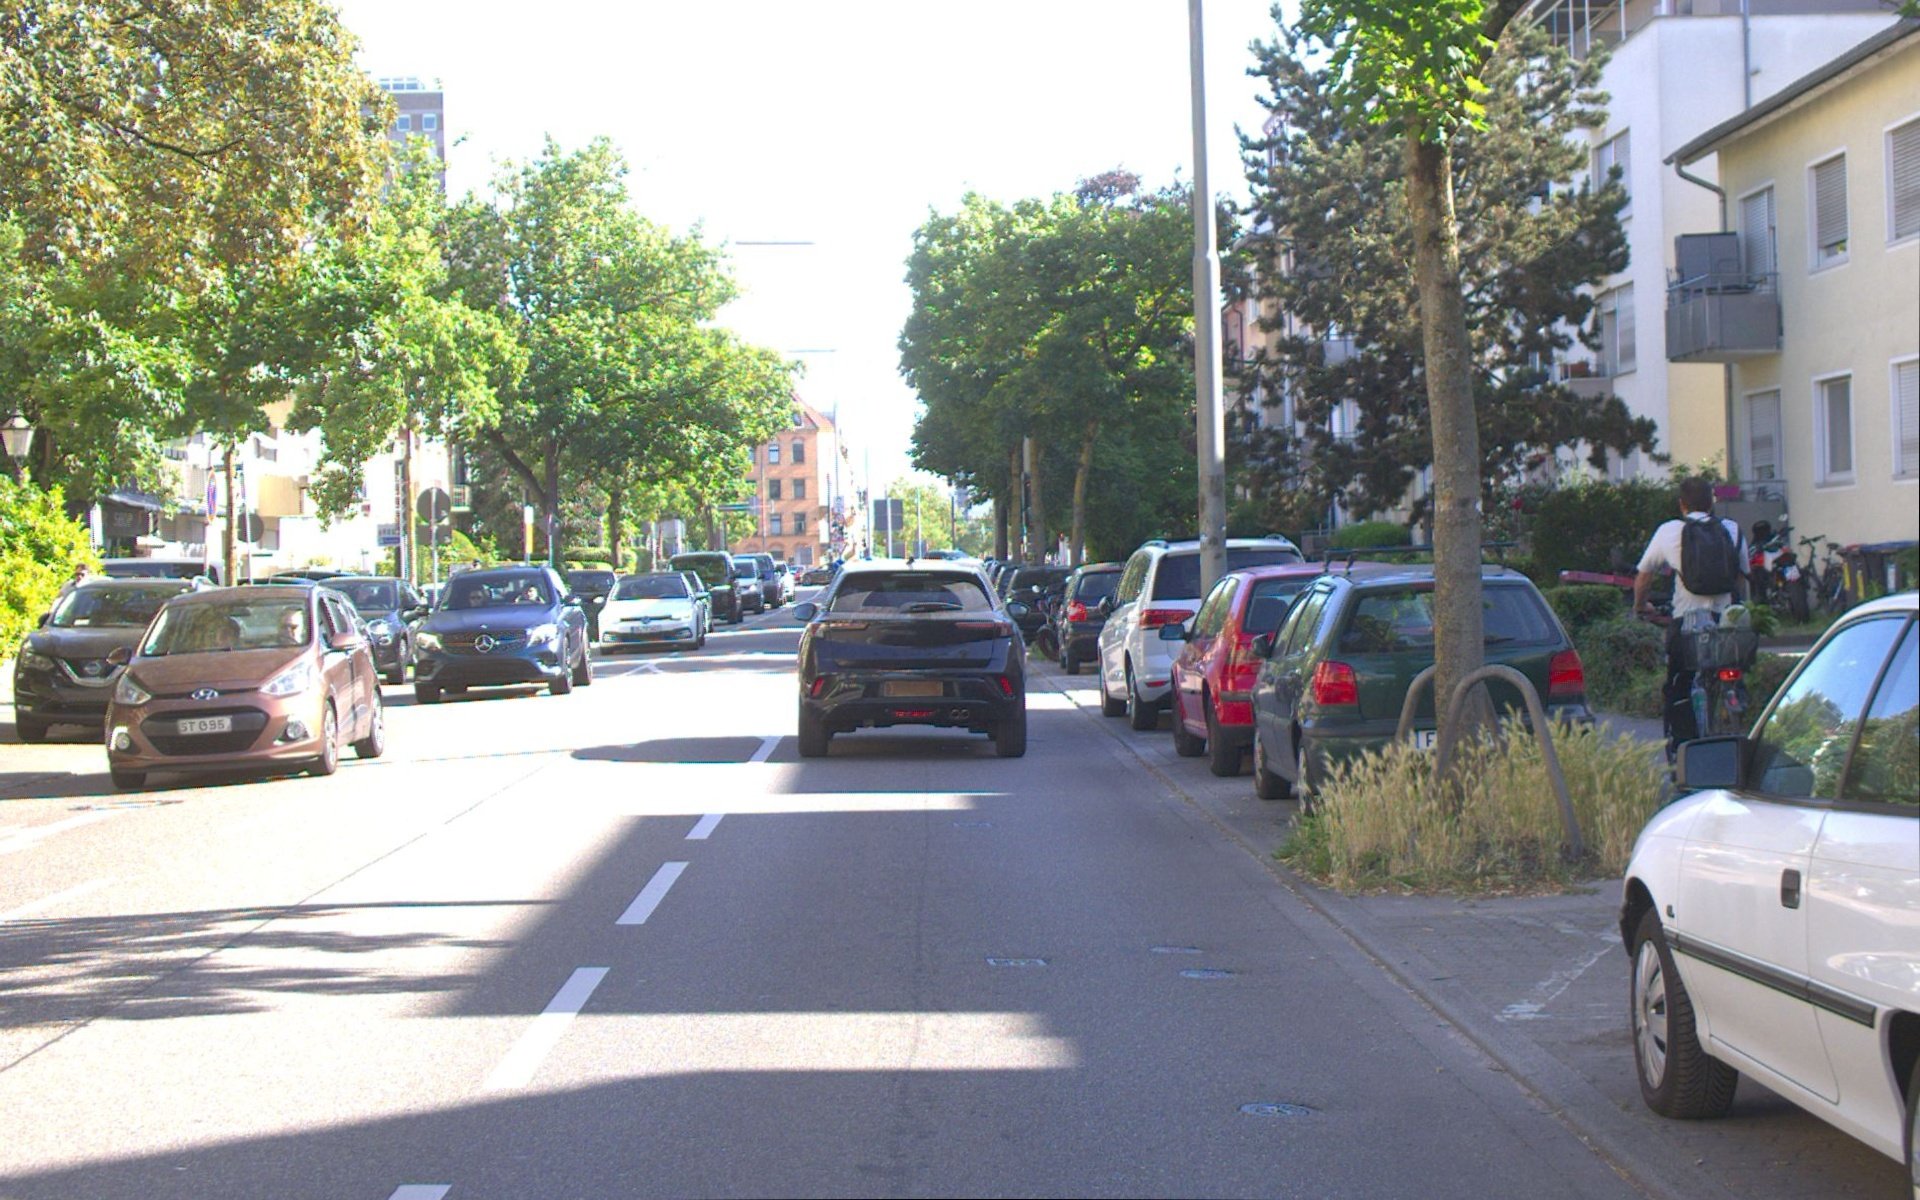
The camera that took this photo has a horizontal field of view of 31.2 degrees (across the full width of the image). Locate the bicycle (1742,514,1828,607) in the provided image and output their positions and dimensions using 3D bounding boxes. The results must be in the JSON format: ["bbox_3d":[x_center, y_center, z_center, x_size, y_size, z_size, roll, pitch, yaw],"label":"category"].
[{"bbox_3d":[12.075,-0.583,50.393,0.598,1.299,2.426,-2,1,-1],"label":"bicycle"}]

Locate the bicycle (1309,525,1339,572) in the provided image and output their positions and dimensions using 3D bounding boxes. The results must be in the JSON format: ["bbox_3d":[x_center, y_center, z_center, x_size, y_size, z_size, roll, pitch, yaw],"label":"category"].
[{"bbox_3d":[10.404,-1.465,98.316,0.591,1.283,1.689,-4,1,0],"label":"bicycle"}]

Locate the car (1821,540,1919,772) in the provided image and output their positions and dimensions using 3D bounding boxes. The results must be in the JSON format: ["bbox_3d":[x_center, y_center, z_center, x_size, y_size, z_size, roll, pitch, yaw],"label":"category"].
[{"bbox_3d":[6.466,0.302,20.602,1.532,1.351,3.718,-4,1,-1],"label":"car"}]

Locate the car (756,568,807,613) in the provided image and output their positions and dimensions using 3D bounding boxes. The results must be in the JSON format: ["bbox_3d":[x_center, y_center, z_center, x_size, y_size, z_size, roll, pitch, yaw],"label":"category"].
[{"bbox_3d":[-7.165,-0.406,138.373,1.806,1.642,4.673,-4,1,-2],"label":"car"}]

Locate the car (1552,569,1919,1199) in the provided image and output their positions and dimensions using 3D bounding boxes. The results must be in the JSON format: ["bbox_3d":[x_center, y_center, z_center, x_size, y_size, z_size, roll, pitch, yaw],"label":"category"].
[{"bbox_3d":[2.564,0.656,7.738,1.649,1.398,3.970,-3,1,-1],"label":"car"}]

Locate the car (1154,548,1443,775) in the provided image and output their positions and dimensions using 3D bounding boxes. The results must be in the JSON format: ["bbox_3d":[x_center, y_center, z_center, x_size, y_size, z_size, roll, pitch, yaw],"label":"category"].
[{"bbox_3d":[2.348,0.379,24.617,1.531,1.444,3.718,-2,1,-2],"label":"car"}]

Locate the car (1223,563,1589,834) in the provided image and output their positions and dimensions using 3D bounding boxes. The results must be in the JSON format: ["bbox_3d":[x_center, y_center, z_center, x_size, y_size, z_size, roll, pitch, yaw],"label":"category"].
[{"bbox_3d":[2.483,0.494,19.902,1.531,1.351,3.718,-2,1,-1],"label":"car"}]

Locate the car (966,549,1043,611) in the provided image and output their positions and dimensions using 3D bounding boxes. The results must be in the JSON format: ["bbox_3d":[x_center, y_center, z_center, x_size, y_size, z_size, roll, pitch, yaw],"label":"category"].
[{"bbox_3d":[1.122,-0.525,88.442,1.714,1.484,4.235,-2,1,-2],"label":"car"}]

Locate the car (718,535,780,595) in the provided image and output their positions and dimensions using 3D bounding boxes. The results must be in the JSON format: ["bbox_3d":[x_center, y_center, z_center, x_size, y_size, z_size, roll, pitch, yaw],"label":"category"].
[{"bbox_3d":[-7.333,-1.231,119.839,1.803,1.904,4.712,-4,1,-1],"label":"car"}]

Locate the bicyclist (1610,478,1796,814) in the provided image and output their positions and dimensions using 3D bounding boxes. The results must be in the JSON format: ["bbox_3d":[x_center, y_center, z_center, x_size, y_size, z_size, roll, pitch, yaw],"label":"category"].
[{"bbox_3d":[4.126,0.243,19.148,0.724,1.787,1.016,-3,1,-1],"label":"bicyclist"}]

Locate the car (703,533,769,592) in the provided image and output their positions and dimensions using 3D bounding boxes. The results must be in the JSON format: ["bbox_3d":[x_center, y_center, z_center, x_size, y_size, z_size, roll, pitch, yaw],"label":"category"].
[{"bbox_3d":[-7.102,-1.197,109.208,1.815,1.737,4.493,-4,1,-1],"label":"car"}]

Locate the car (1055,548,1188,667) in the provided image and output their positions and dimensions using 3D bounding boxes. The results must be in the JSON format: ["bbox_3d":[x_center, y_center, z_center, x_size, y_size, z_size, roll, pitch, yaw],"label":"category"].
[{"bbox_3d":[2.172,0.069,46.892,1.620,1.494,3.649,-2,1,1],"label":"car"}]

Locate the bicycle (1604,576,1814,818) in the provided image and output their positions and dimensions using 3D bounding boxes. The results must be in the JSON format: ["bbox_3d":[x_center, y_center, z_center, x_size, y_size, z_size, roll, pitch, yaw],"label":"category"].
[{"bbox_3d":[4.148,0.510,19.169,0.698,1.242,1.822,-3,1,-1],"label":"bicycle"}]

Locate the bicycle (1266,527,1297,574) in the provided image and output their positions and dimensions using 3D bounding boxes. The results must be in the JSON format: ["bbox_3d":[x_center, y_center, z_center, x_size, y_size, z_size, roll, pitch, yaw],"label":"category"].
[{"bbox_3d":[9.250,-1.420,98.934,0.623,1.283,1.842,-4,1,0],"label":"bicycle"}]

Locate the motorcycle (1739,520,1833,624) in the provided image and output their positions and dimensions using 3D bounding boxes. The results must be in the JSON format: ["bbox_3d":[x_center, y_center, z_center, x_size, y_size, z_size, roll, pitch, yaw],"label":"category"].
[{"bbox_3d":[11.373,-0.396,47.397,0.636,1.371,2.426,-2,1,-1],"label":"motorcycle"}]

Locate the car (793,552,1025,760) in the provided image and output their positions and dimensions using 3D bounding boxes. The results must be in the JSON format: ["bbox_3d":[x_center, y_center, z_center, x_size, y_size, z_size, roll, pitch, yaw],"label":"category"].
[{"bbox_3d":[-0.410,0.401,27.713,1.745,1.568,3.558,0,1,-1],"label":"car"}]

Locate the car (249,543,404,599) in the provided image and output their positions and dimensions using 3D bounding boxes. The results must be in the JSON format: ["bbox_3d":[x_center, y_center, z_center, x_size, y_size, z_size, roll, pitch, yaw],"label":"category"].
[{"bbox_3d":[-17.587,-0.805,95.560,3.987,1.481,1.881,-1,1,-1],"label":"car"}]

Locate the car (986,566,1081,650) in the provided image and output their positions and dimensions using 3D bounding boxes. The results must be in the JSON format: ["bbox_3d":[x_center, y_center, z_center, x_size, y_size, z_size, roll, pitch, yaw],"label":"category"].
[{"bbox_3d":[1.322,0.124,63.253,1.586,1.391,4.454,-3,1,0],"label":"car"}]

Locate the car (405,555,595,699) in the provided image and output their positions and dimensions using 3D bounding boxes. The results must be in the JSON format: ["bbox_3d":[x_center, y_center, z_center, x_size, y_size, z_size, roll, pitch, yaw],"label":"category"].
[{"bbox_3d":[-5.787,0.300,43.695,1.836,1.608,4.401,-4,1,-1],"label":"car"}]

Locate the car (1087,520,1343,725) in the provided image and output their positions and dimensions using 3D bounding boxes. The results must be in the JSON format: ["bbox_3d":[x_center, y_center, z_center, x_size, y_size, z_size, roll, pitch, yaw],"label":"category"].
[{"bbox_3d":[2.239,0.160,31.262,1.768,1.653,4.342,-3,1,-2],"label":"car"}]

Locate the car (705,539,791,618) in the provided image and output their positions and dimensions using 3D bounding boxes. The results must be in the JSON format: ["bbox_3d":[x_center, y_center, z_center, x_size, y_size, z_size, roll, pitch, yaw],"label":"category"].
[{"bbox_3d":[-5.649,-0.600,92.189,2.016,1.945,5.179,-3,1,-2],"label":"car"}]

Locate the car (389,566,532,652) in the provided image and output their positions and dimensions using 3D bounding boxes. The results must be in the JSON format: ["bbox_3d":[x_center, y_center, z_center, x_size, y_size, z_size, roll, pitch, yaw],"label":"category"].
[{"bbox_3d":[-8.511,0.122,58.897,1.833,1.384,4.802,0,1,-1],"label":"car"}]

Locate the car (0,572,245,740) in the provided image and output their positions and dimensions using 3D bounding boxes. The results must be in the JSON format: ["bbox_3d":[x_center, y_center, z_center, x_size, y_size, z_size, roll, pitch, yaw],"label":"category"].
[{"bbox_3d":[-8.518,0.520,35.161,1.624,1.583,4.348,0,1,-2],"label":"car"}]

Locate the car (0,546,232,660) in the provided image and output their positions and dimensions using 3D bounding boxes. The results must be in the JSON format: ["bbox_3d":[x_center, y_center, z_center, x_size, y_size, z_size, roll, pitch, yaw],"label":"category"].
[{"bbox_3d":[-14.974,0.024,59.462,4.314,1.872,1.880,-1,1,-26],"label":"car"}]

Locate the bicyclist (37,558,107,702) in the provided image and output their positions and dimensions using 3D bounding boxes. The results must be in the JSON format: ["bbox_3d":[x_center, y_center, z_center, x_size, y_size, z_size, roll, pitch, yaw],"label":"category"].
[{"bbox_3d":[-11.058,0.360,42.844,0.582,1.761,1.208,0,1,-1],"label":"bicyclist"}]

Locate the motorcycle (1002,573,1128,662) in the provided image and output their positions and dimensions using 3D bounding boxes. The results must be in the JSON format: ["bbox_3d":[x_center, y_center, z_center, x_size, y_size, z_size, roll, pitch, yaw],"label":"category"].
[{"bbox_3d":[1.546,0.265,51.352,0.697,1.267,2.432,-4,1,-28],"label":"motorcycle"}]

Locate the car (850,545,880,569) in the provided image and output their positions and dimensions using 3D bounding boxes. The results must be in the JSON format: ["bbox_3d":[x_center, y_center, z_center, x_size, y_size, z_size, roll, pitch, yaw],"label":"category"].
[{"bbox_3d":[-6.005,-2.749,217.634,1.771,1.447,3.885,-2,1,0],"label":"car"}]

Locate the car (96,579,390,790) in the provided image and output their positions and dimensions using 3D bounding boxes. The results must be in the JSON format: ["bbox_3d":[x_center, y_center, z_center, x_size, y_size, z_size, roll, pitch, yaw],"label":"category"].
[{"bbox_3d":[-5.597,0.613,27.228,1.581,1.446,3.745,-3,1,-2],"label":"car"}]

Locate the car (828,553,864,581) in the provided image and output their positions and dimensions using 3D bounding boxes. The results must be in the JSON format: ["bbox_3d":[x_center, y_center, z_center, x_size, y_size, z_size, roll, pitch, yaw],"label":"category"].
[{"bbox_3d":[-6.328,-1.850,191.112,1.771,1.447,3.885,-2,1,1],"label":"car"}]

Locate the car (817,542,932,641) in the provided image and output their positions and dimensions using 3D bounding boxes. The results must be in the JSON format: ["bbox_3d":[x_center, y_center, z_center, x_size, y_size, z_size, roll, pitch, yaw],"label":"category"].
[{"bbox_3d":[-1.435,-0.169,58.810,1.830,1.573,3.839,-2,1,0],"label":"car"}]

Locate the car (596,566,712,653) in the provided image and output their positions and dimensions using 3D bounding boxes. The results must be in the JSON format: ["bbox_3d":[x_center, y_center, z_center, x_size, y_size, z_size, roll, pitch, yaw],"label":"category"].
[{"bbox_3d":[-5.572,0.143,63.007,1.733,1.407,4.192,-4,1,-1],"label":"car"}]

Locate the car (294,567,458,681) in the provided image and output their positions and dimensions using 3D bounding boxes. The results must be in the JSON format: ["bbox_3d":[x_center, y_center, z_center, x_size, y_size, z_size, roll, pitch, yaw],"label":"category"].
[{"bbox_3d":[-8.515,0.319,50.422,1.678,1.549,4.008,-1,1,0],"label":"car"}]
